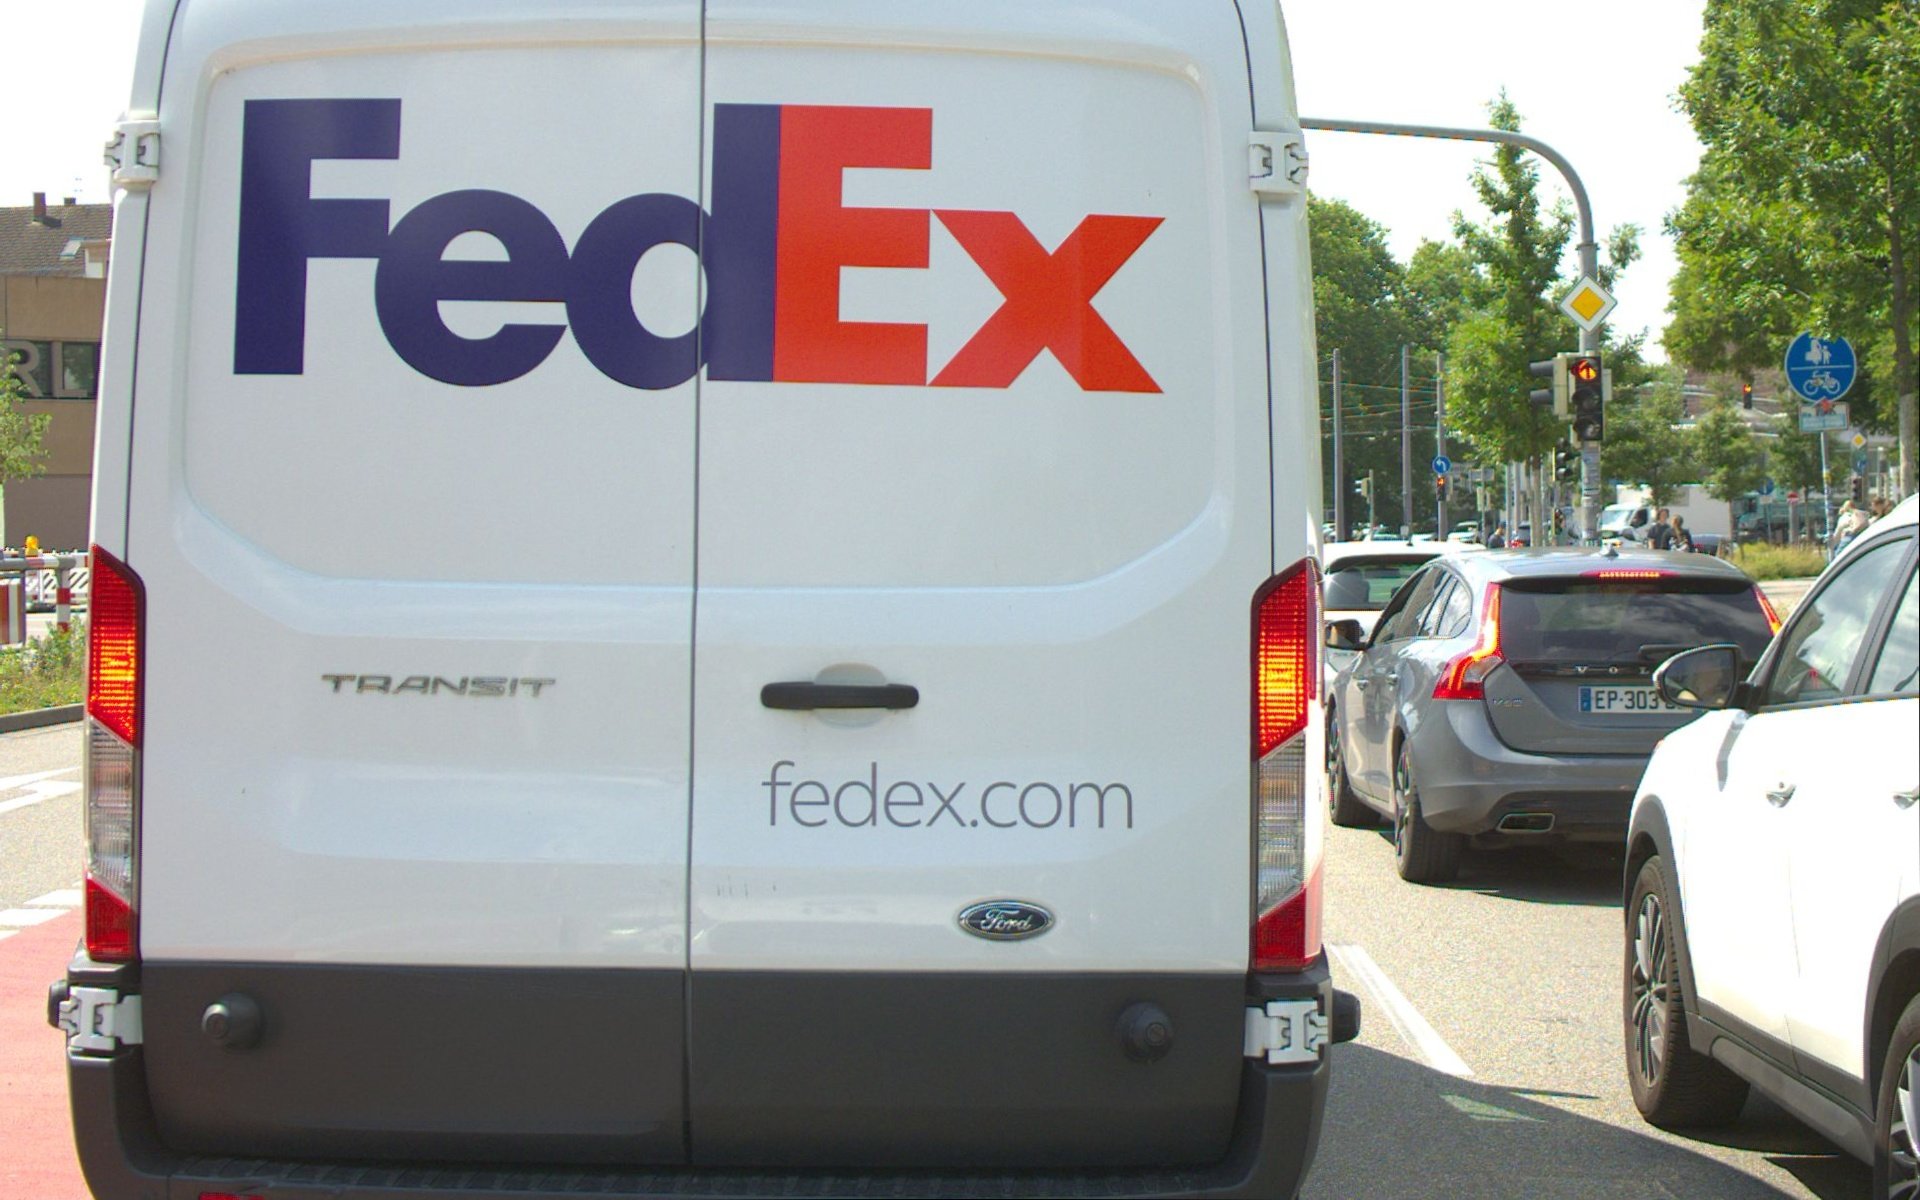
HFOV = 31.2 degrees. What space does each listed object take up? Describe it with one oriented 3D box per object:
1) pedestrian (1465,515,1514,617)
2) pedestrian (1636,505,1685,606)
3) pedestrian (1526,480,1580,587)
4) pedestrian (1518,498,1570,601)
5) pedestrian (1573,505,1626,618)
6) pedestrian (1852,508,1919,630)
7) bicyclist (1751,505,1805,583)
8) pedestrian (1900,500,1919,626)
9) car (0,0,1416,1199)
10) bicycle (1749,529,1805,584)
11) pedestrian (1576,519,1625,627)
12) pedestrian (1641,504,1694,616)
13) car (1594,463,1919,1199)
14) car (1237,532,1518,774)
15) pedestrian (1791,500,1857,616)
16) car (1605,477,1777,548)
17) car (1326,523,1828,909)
[{"bbox_3d":[9.695,-0.623,62.950,0.759,1.843,0.816,-1,1,0],"label":"pedestrian"},{"bbox_3d":[12.947,-0.825,63.572,0.759,1.843,0.816,-1,1,3],"label":"pedestrian"},{"bbox_3d":[10.320,-1.164,59.838,0.813,1.843,0.761,-1,1,3],"label":"pedestrian"},{"bbox_3d":[10.589,-0.914,62.305,0.758,1.843,0.816,-1,1,-3],"label":"pedestrian"},{"bbox_3d":[10.548,-0.646,56.692,0.759,1.843,0.815,0,1,18],"label":"pedestrian"},{"bbox_3d":[12.661,-0.429,46.986,0.759,1.649,0.816,-1,1,3],"label":"pedestrian"},{"bbox_3d":[22.916,-1.575,96.289,1.433,2.164,1.338,0,1,15],"label":"bicyclist"},{"bbox_3d":[14.459,-0.557,50.982,0.758,1.843,0.816,-1,1,-5],"label":"pedestrian"},{"bbox_3d":[-0.351,0.074,7.149,2.072,2.572,4.428,0,1,1],"label":"car"},{"bbox_3d":[22.888,-1.241,96.258,1.426,1.459,4.308,0,2,15],"label":"bicycle"},{"bbox_3d":[11.005,-0.467,59.052,0.759,1.843,0.816,0,1,15],"label":"pedestrian"},{"bbox_3d":[11.811,-0.676,57.375,0.759,1.843,0.815,0,1,18],"label":"pedestrian"},{"bbox_3d":[2.575,0.560,7.197,1.814,1.673,3.974,0,1,1],"label":"car"},{"bbox_3d":[2.711,0.295,22.927,1.499,1.459,3.474,0,1,1],"label":"car"},{"bbox_3d":[13.985,-0.684,55.644,0.758,1.843,0.816,-1,1,-10],"label":"pedestrian"},{"bbox_3d":[29.348,-3.480,137.943,7.062,2.708,2.496,0,1,-34],"label":"car"},{"bbox_3d":[2.706,0.431,15.829,1.691,1.543,3.720,0,1,1],"label":"car"}]
